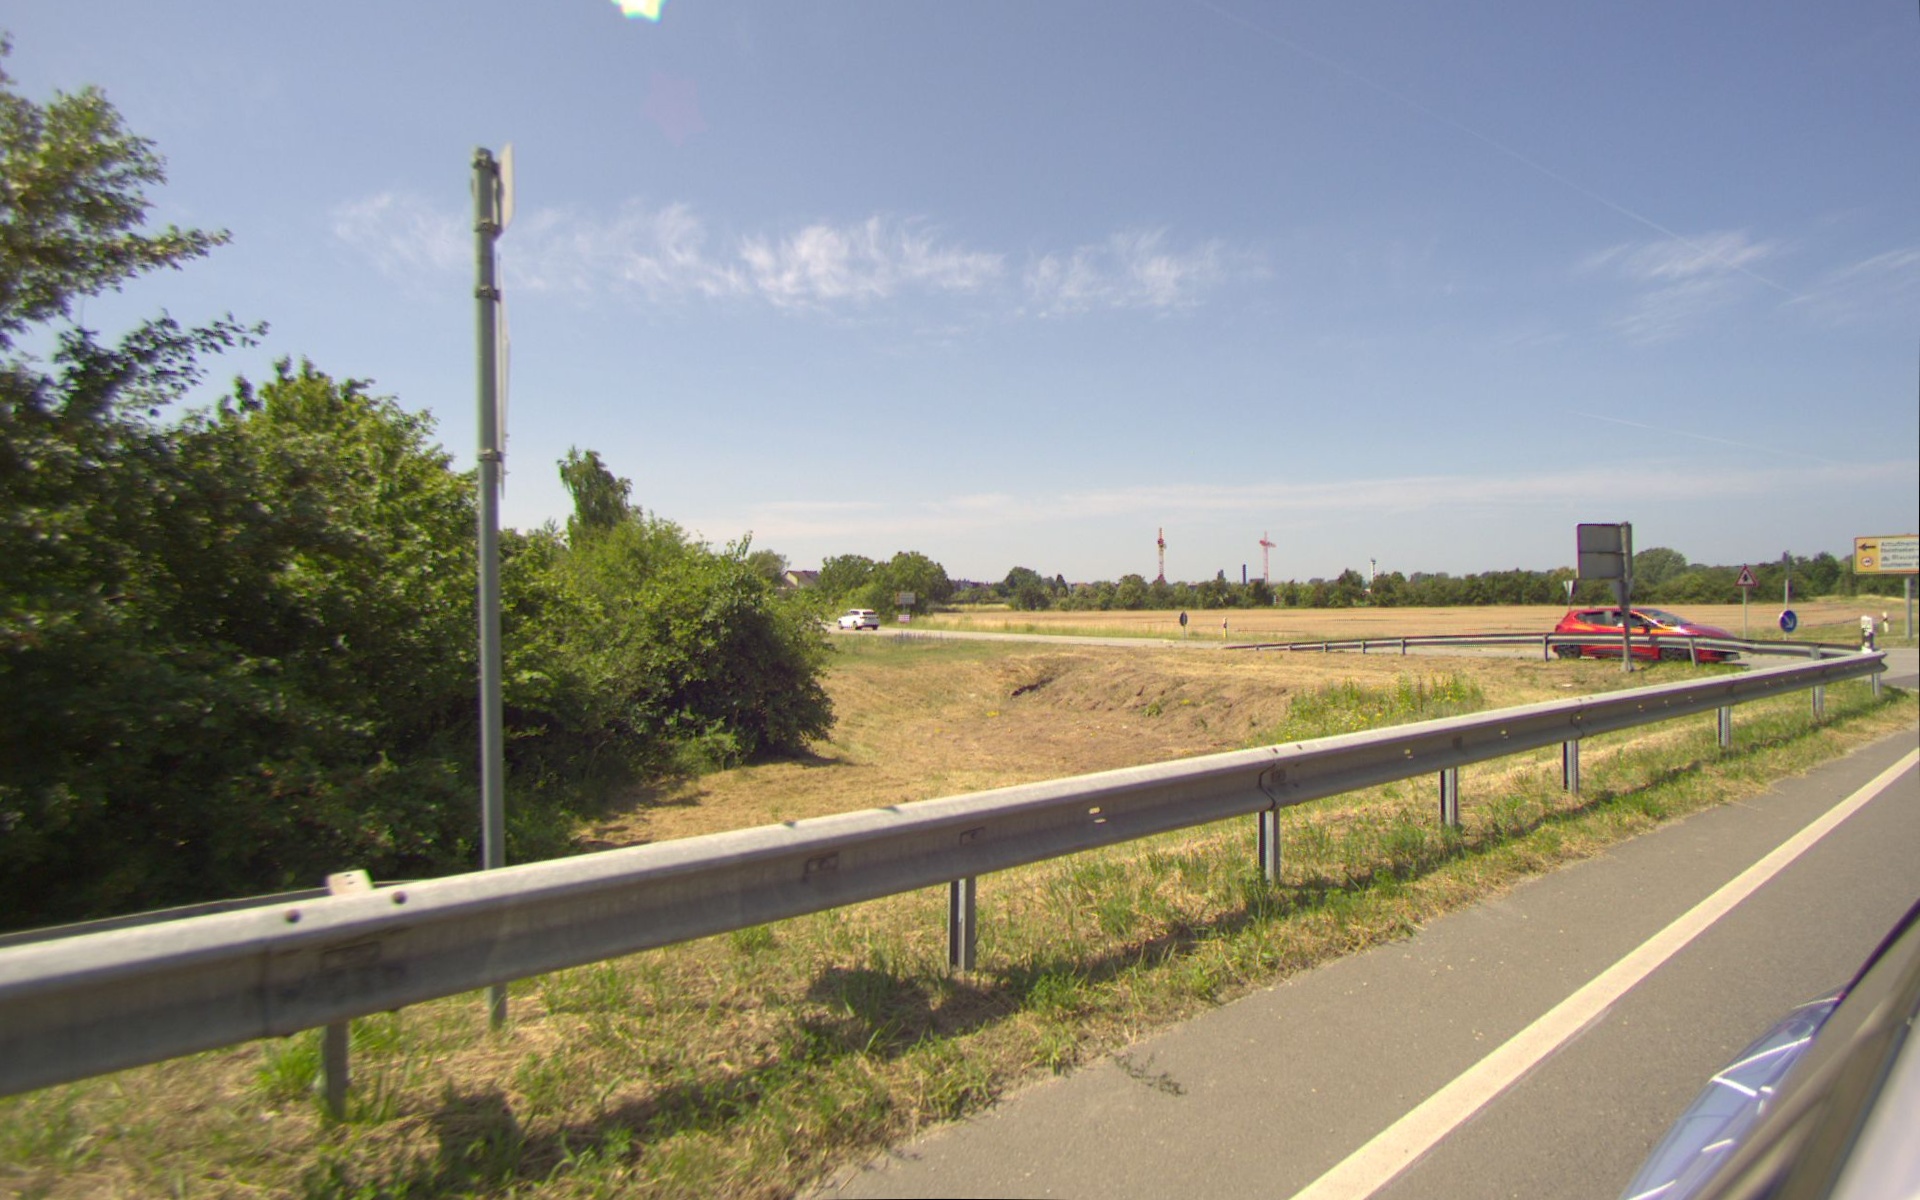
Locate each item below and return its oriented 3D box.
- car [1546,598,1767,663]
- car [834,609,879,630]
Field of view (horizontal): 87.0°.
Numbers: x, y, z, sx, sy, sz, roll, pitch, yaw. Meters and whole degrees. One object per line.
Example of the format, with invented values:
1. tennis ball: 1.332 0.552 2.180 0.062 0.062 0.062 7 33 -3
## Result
1. car: 17.235 0.735 25.271 1.743 1.436 4.171 -2 0 -27
2. car: -7.624 1.454 74.112 1.804 1.437 4.721 -2 -2 -25
